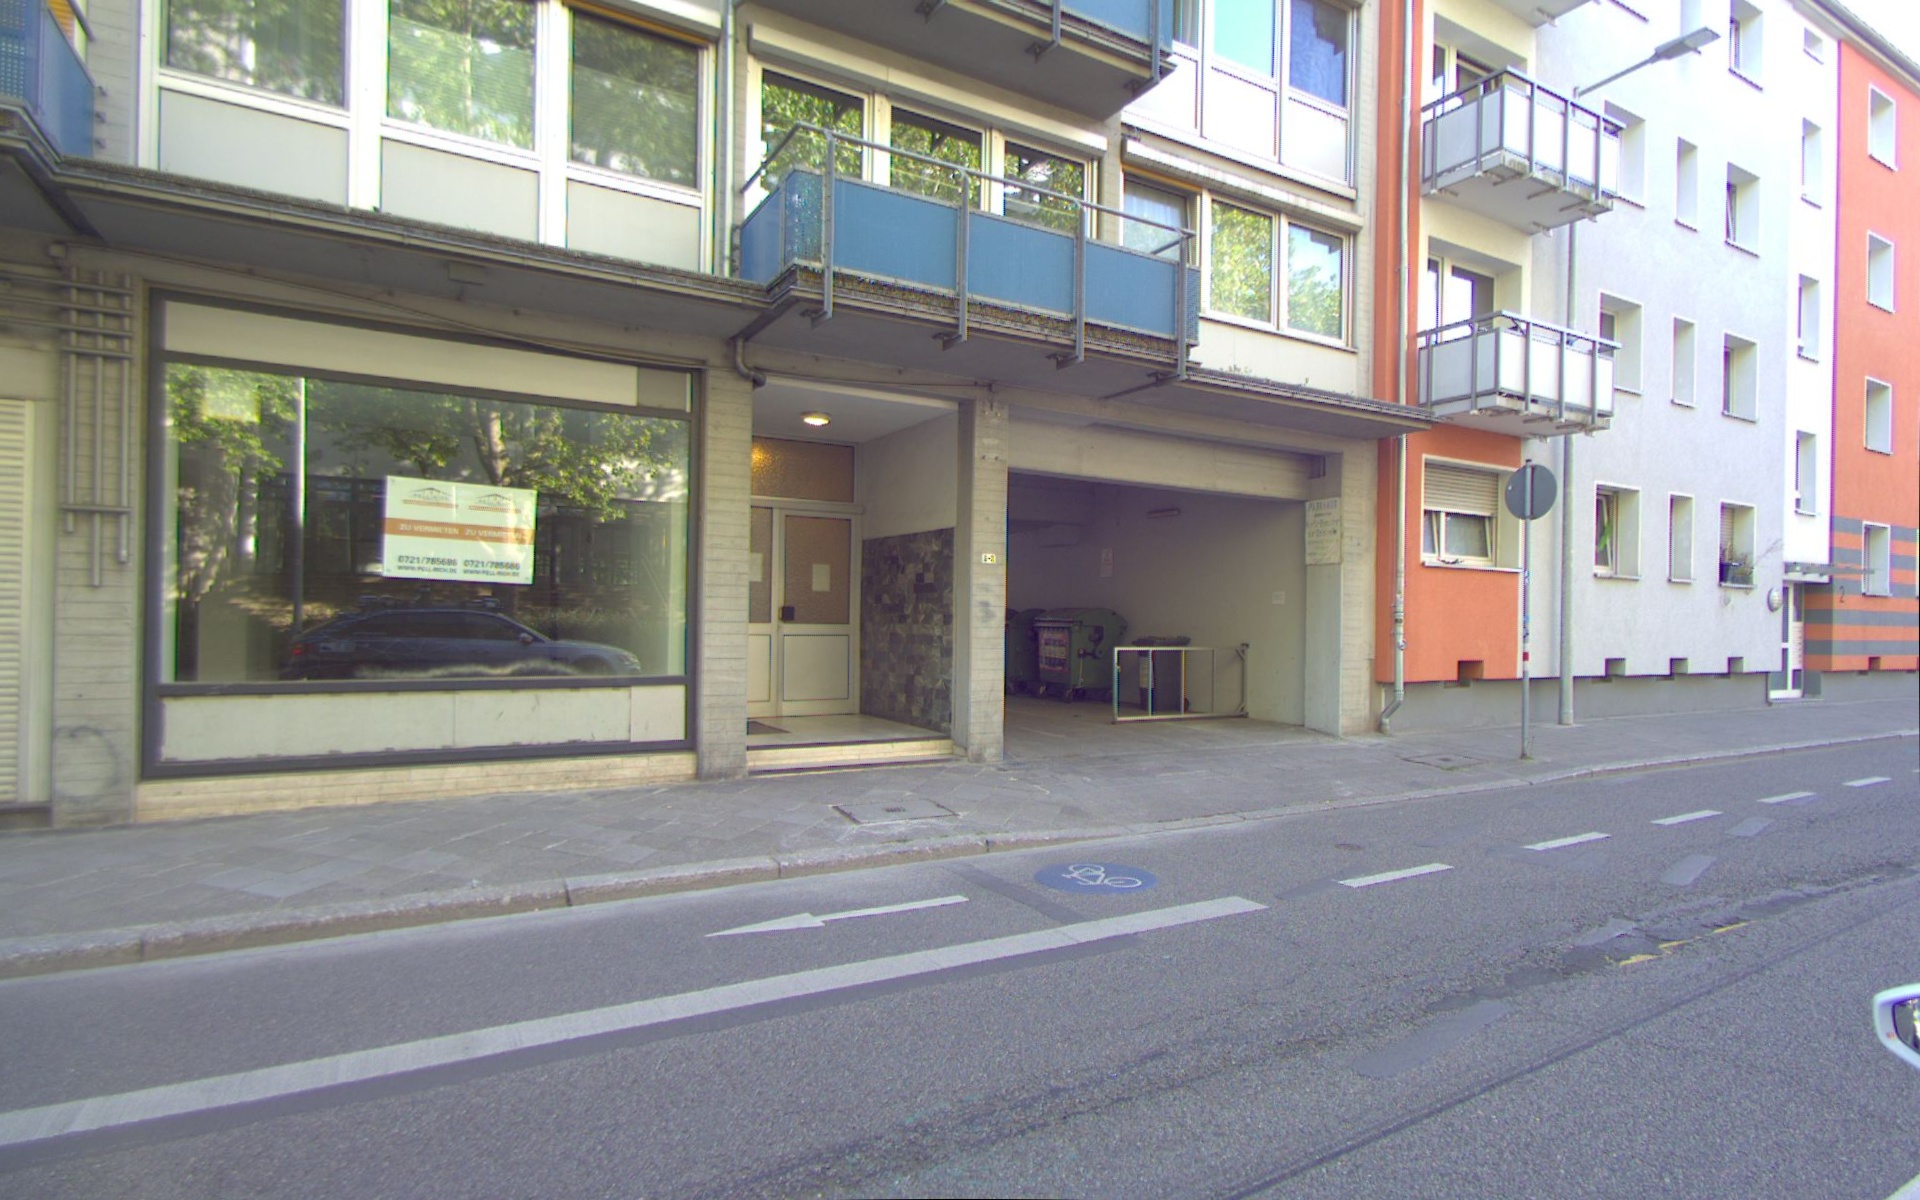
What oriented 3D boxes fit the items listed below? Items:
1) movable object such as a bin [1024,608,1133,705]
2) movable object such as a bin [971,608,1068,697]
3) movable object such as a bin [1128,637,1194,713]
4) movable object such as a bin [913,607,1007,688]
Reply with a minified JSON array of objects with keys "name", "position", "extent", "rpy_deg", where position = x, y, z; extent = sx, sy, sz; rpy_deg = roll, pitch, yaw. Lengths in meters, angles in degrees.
[{"name":"movable object such as a bin","position":[1.854,0.860,15.864],"extent":[1.128,1.449,1.342],"rpy_deg":[1,0,-28]},{"name":"movable object such as a bin","position":[1.002,0.866,17.187],"extent":[1.119,1.449,1.322],"rpy_deg":[1,0,-28]},{"name":"movable object such as a bin","position":[2.904,1.074,14.545],"extent":[0.695,1.055,0.593],"rpy_deg":[2,0,-30]},{"name":"movable object such as a bin","position":[-0.025,0.863,18.890],"extent":[1.119,1.449,1.666],"rpy_deg":[1,0,-28]}]
